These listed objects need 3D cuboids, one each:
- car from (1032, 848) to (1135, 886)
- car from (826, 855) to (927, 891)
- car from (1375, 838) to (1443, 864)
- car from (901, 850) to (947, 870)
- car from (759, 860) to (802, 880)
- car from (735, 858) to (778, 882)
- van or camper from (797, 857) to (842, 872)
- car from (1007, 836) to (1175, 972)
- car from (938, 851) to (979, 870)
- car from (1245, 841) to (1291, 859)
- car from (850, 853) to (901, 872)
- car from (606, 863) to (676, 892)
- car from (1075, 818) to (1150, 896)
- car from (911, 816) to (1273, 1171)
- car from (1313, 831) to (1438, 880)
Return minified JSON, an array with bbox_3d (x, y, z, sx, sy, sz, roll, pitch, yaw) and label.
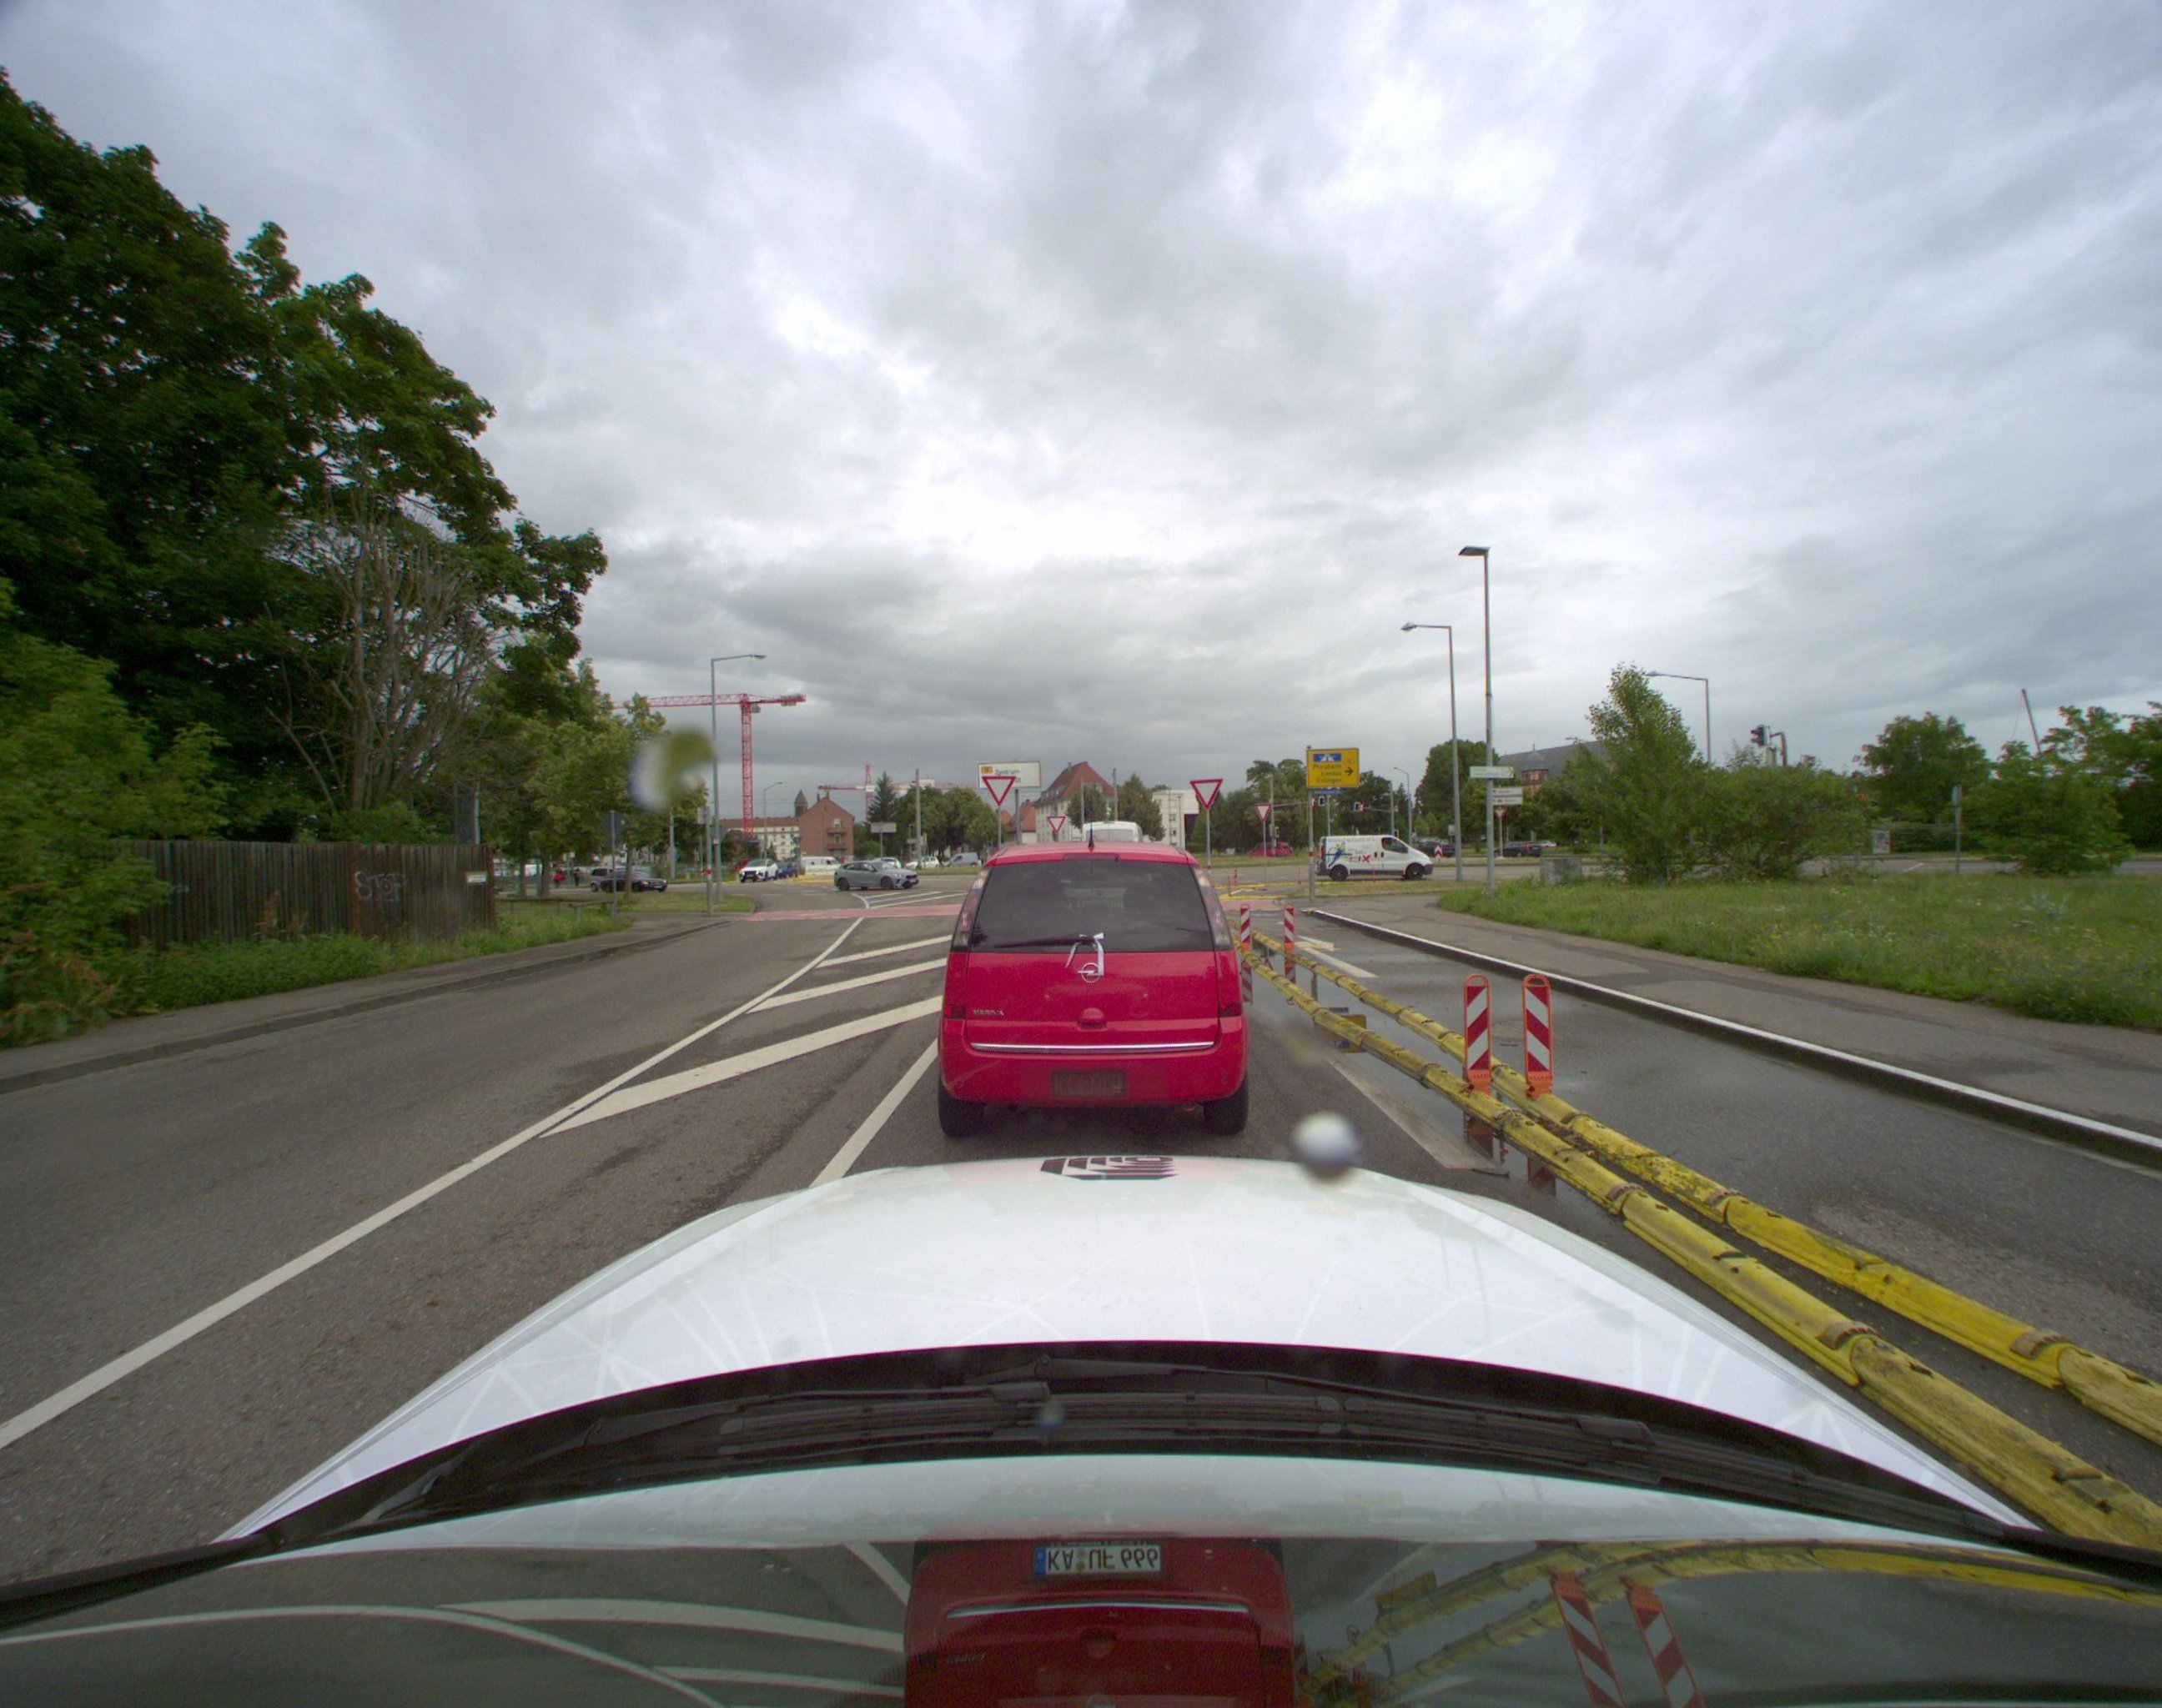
[{"bbox_3d":[0.176,0.594,37.845,4.397,1.602,2.105,-2,0,11],"label":"car"},{"bbox_3d":[-10.092,0.936,40.169,4.385,1.602,2.111,-2,0,25],"label":"car"},{"bbox_3d":[27.433,-0.247,68.230,2.011,2.013,4.881,-2,0,-42],"label":"car"},{"bbox_3d":[-16.485,0.601,85.800,1.974,2.013,4.509,-2,0,37],"label":"car"},{"bbox_3d":[-25.230,1.318,68.482,1.923,1.489,4.002,-2,0,2],"label":"car"},{"bbox_3d":[-24.569,1.191,61.820,1.928,1.684,4.180,-2,0,-6],"label":"car"},{"bbox_3d":[-39.452,1.623,122.978,6.135,2.013,2.007,-2,0,12],"label":"van or camper"},{"bbox_3d":[0.192,0.607,12.304,2.052,1.648,4.609,-1,0,2],"label":"car"},{"bbox_3d":[-14.662,0.771,97.455,4.490,2.013,1.981,-2,0,-29],"label":"car"},{"bbox_3d":[22.061,-0.499,96.159,4.827,1.917,2.129,-2,0,38],"label":"car"},{"bbox_3d":[-20.428,0.836,81.041,1.974,1.635,4.705,-2,0,37],"label":"car"},{"bbox_3d":[-27.797,1.513,51.408,3.949,1.684,2.012,-2,0,29],"label":"car"},{"bbox_3d":[1.229,0.096,29.046,2.183,2.540,4.973,-1,0,7],"label":"car"},{"bbox_3d":[0.106,0.644,5.601,1.667,1.640,3.629,-1,0,2],"label":"car"},{"bbox_3d":[12.610,0.084,35.232,4.800,1.900,2.106,-2,0,12],"label":"car"}]
